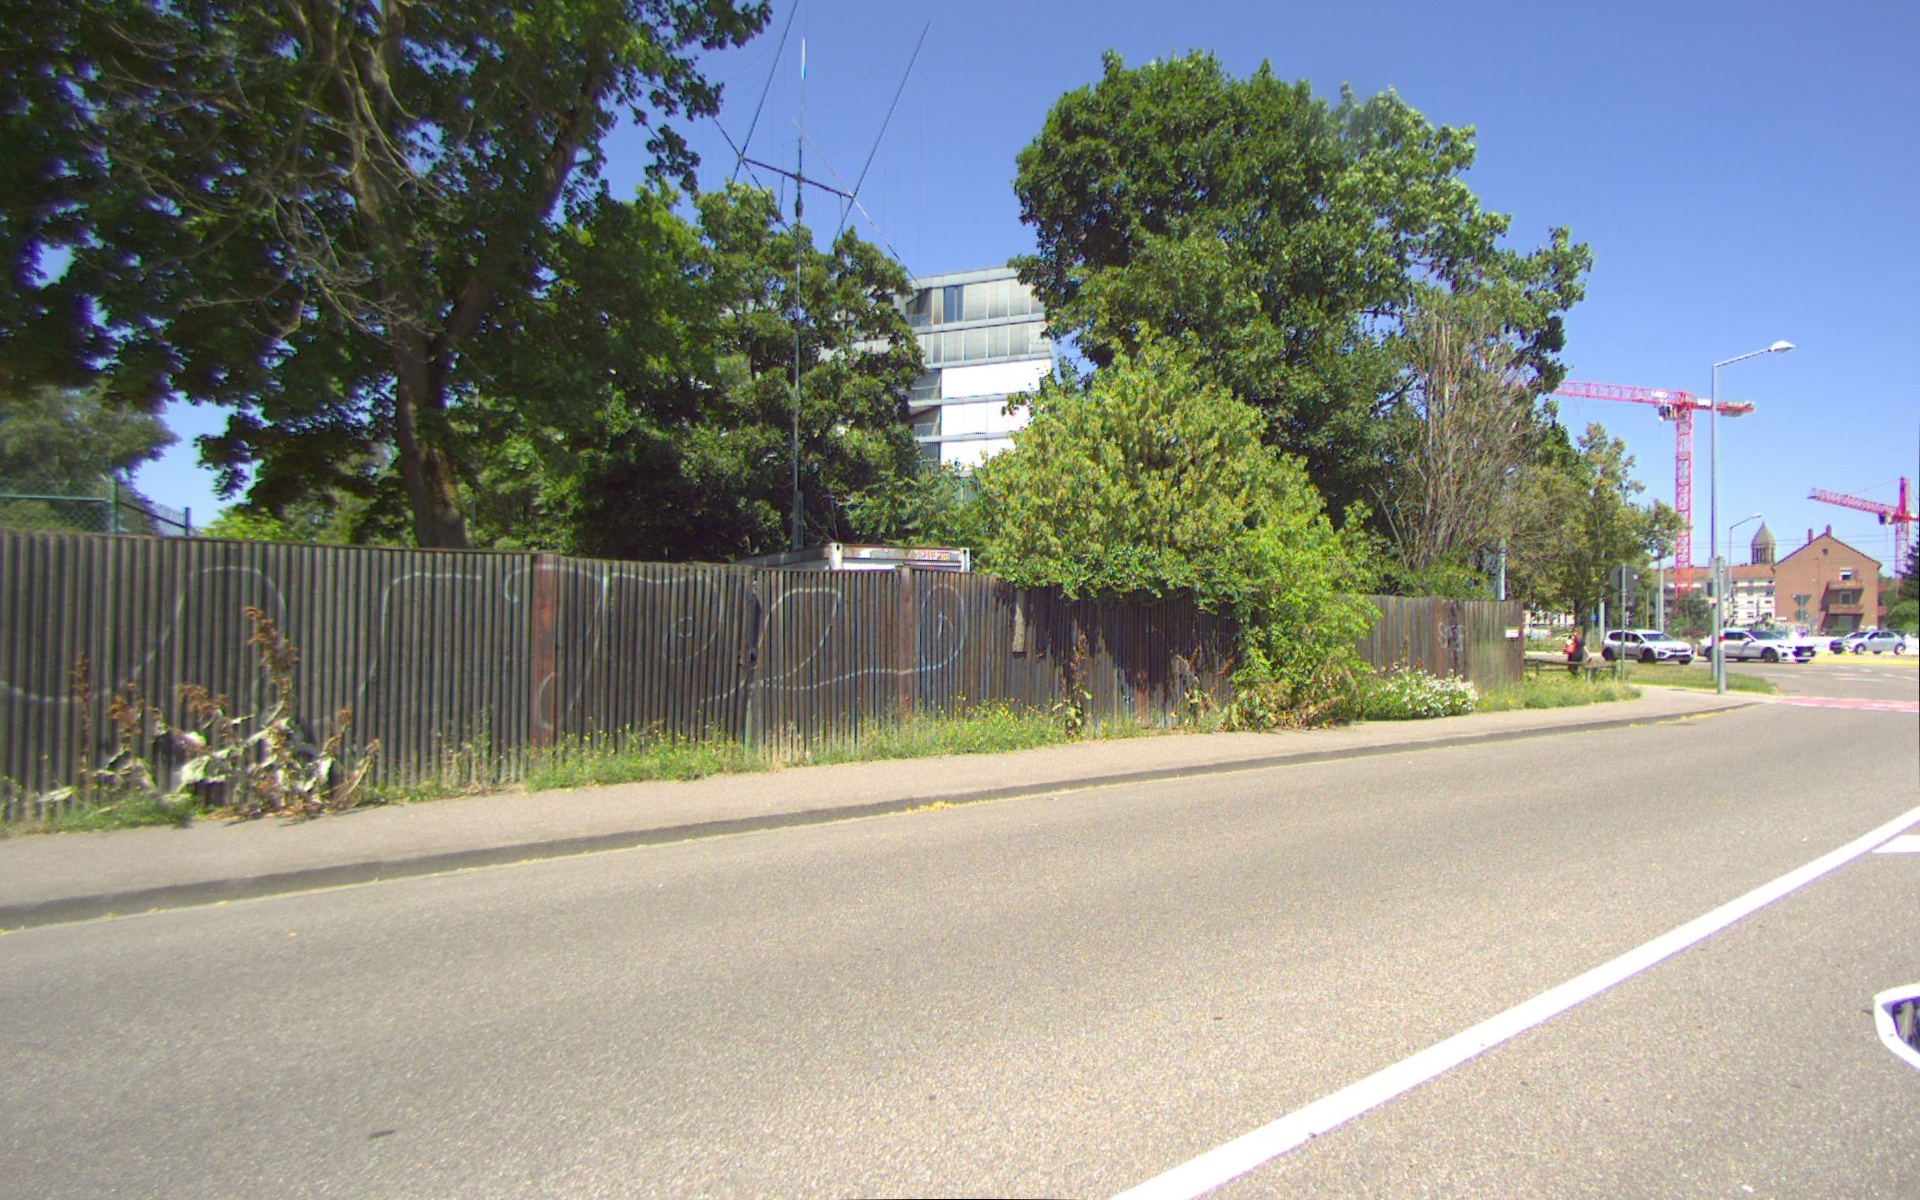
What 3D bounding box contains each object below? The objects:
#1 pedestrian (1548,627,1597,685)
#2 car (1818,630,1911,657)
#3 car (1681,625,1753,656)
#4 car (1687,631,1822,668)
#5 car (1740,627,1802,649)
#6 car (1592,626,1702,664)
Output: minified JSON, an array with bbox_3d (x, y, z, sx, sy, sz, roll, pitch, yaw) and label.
[{"bbox_3d":[17.130,1.553,28.097,0.796,1.584,0.876,1,0,-7],"label":"pedestrian"},{"bbox_3d":[56.303,2.705,62.547,4.136,1.520,1.713,1,0,3],"label":"car"},{"bbox_3d":[41.339,2.198,54.863,3.953,1.570,1.748,2,-1,-30],"label":"car"},{"bbox_3d":[37.371,2.286,47.432,1.964,1.529,4.999,1,-1,-10],"label":"car"},{"bbox_3d":[48.268,2.273,59.767,3.742,1.253,1.699,2,-1,-30],"label":"car"},{"bbox_3d":[32.083,2.050,47.122,1.961,1.587,4.589,1,-1,-1],"label":"car"}]
